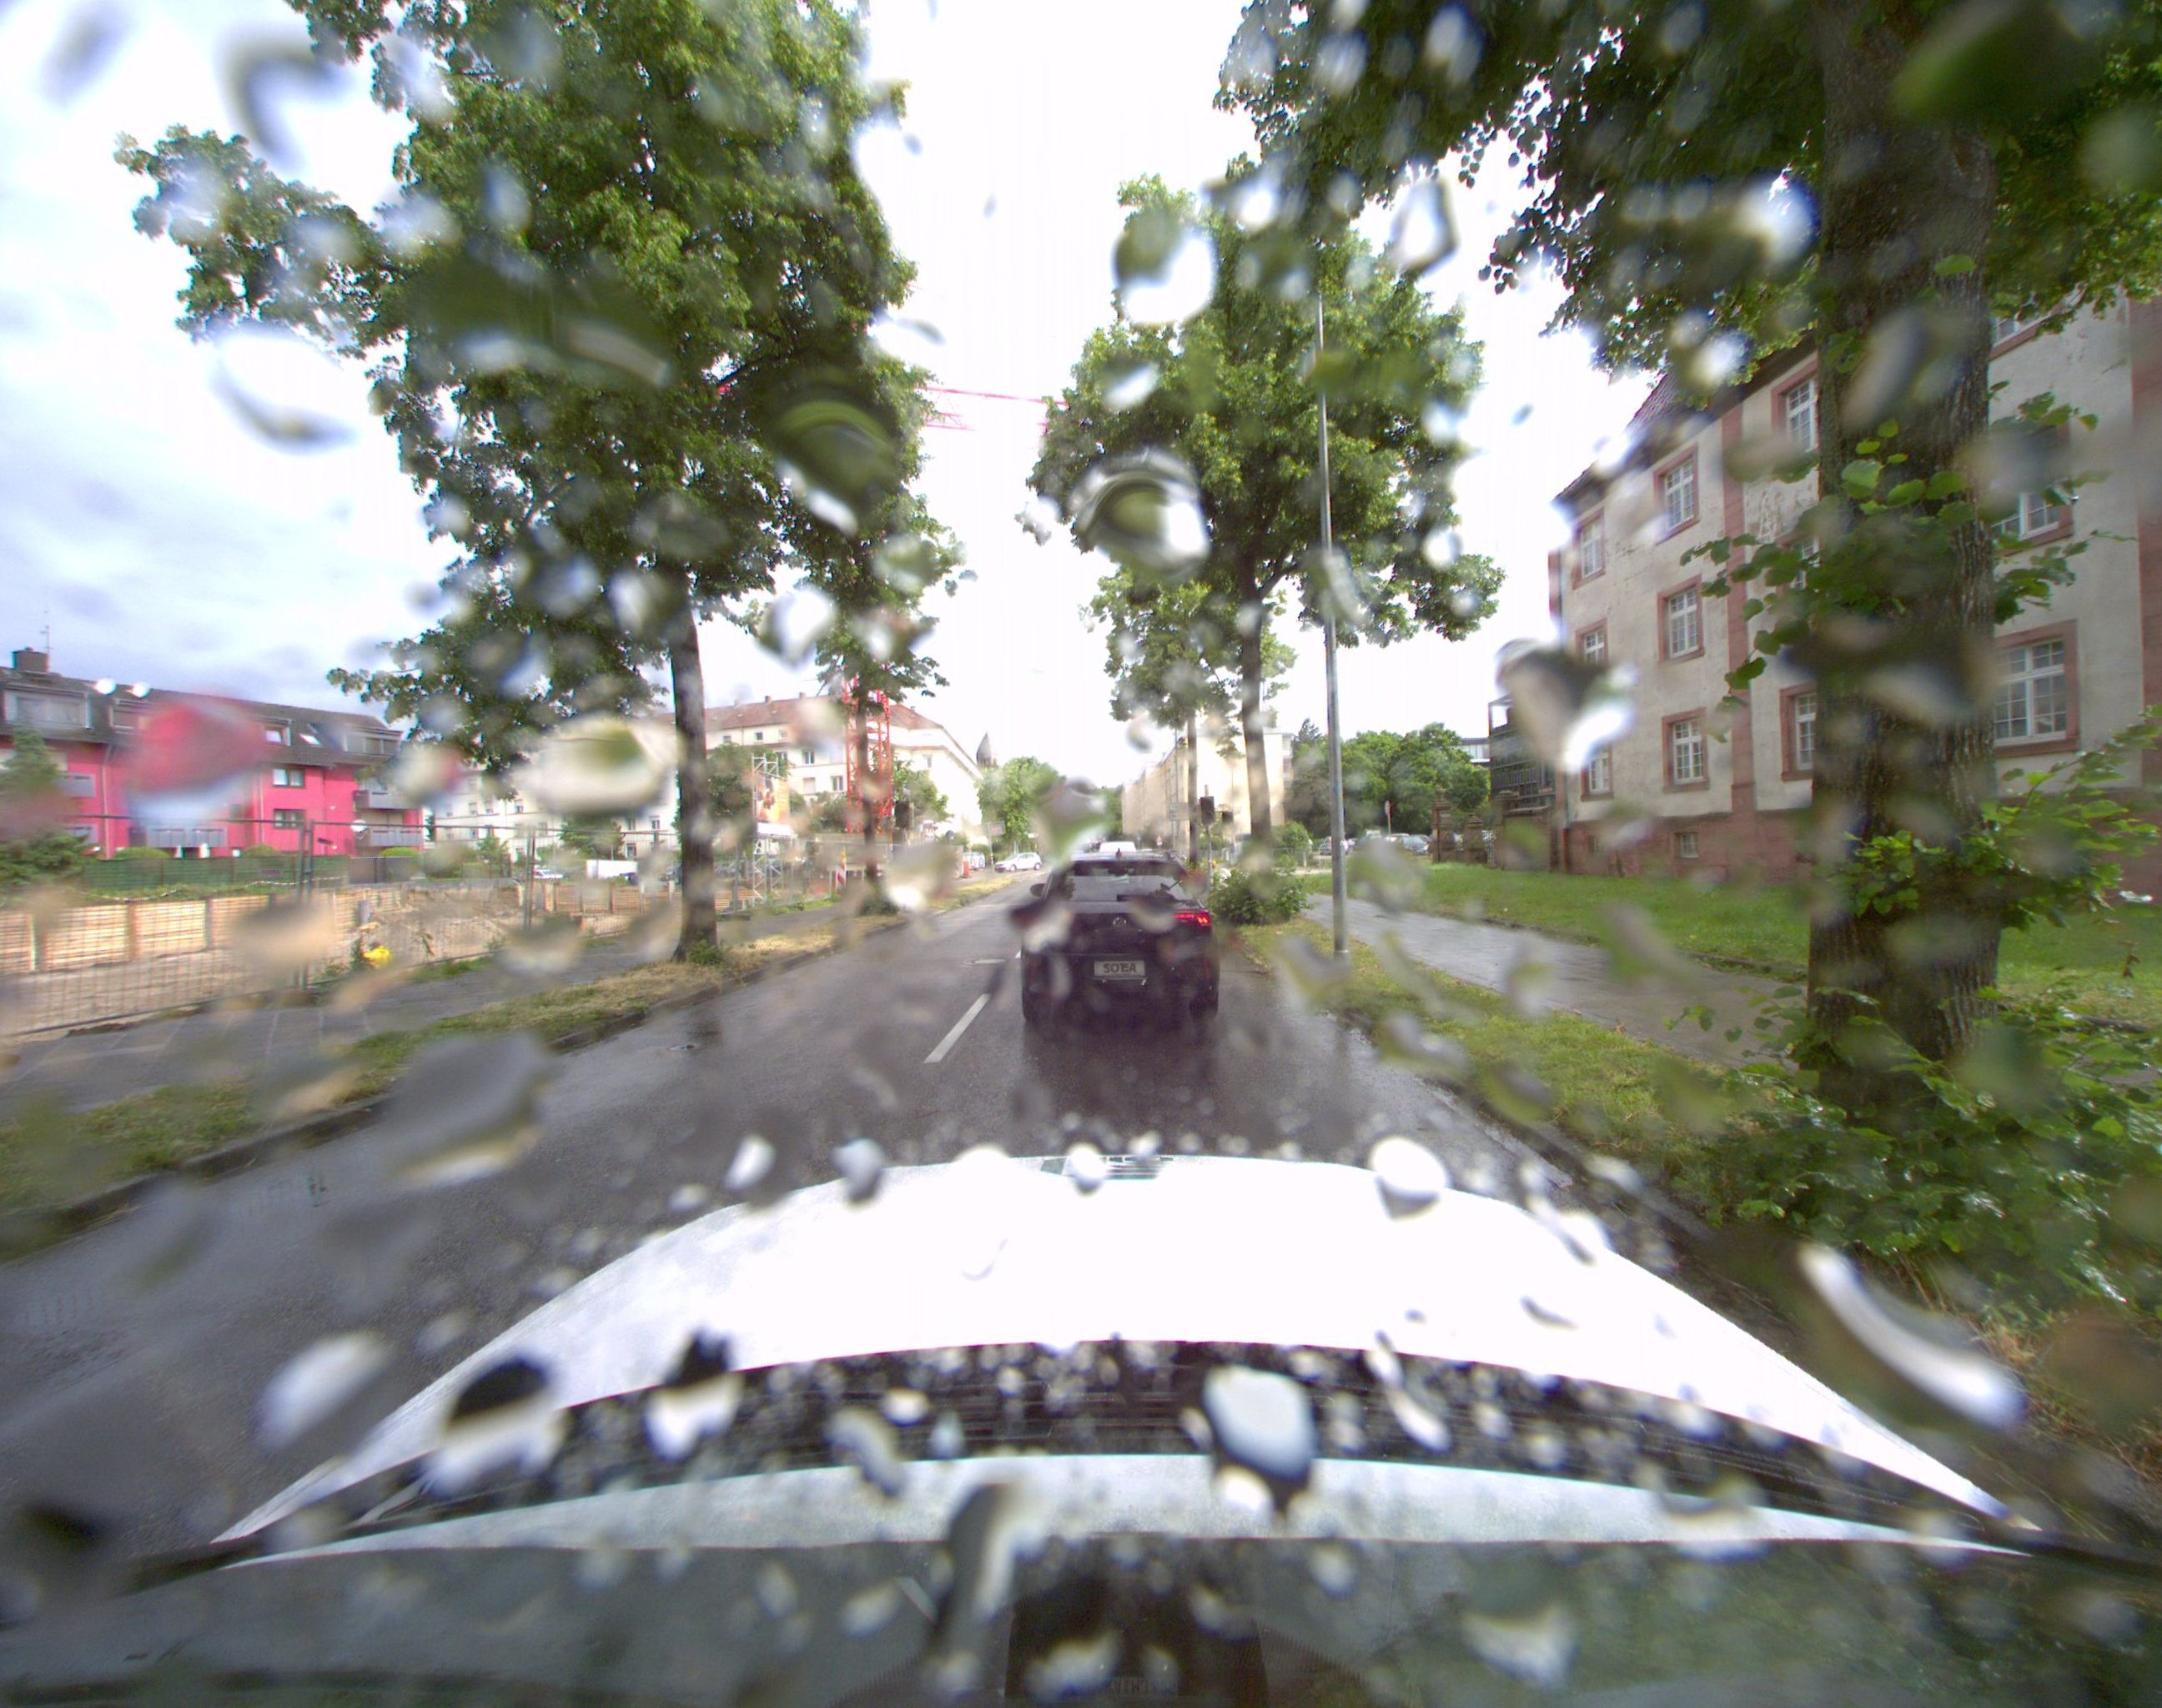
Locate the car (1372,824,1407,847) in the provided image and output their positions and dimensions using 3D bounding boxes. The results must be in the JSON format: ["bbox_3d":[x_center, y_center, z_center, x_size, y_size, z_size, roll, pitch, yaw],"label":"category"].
[{"bbox_3d":[29.079,-1.716,76.801,1.984,2.013,4.007,-5,0,6],"label":"car"}]

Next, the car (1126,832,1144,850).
[{"bbox_3d":[6.620,-1.587,99.718,1.986,2.013,4.002,-1,0,2],"label":"car"}]

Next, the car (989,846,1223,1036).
[{"bbox_3d":[0.281,0.704,8.700,1.887,1.522,4.002,-1,0,2],"label":"car"}]

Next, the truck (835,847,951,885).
[{"bbox_3d":[-14.469,0.928,62.827,8.164,2.656,2.822,-1,1,9],"label":"truck"}]

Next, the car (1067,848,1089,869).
[{"bbox_3d":[-0.319,0.356,74.120,1.784,1.683,4.484,-5,0,-1],"label":"car"}]

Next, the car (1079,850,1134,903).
[{"bbox_3d":[0.993,0.781,29.959,1.672,1.708,3.915,-4,-1,5],"label":"car"}]

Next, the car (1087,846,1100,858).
[{"bbox_3d":[1.617,-0.259,108.704,1.586,1.512,3.732,-5,0,1],"label":"car"}]

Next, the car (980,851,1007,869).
[{"bbox_3d":[-8.311,0.587,77.936,1.582,1.512,3.740,-5,0,8],"label":"car"}]

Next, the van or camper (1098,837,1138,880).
[{"bbox_3d":[1.834,0.193,39.596,1.812,1.947,4.198,-1,0,3],"label":"van or camper"}]

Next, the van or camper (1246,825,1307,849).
[{"bbox_3d":[17.064,-1.479,71.265,4.856,1.925,2.132,-1,1,2],"label":"van or camper"}]

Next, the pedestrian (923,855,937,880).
[{"bbox_3d":[-9.229,0.831,49.779,0.663,1.485,0.668,-2,1,-23],"label":"pedestrian"}]

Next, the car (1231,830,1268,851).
[{"bbox_3d":[16.780,-1.314,81.194,3.386,1.781,1.765,-5,0,10],"label":"car"}]

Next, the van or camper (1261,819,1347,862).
[{"bbox_3d":[14.743,-0.895,53.960,5.016,2.595,2.168,-3,0,0],"label":"van or camper"}]

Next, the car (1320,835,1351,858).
[{"bbox_3d":[20.985,-0.593,67.186,1.733,1.684,3.879,-5,0,8],"label":"car"}]

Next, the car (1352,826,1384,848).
[{"bbox_3d":[29.027,-1.686,82.471,1.984,2.013,4.007,-5,0,6],"label":"car"}]

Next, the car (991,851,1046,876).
[{"bbox_3d":[-4.936,0.768,64.471,3.933,1.651,1.749,-5,0,-17],"label":"car"}]
